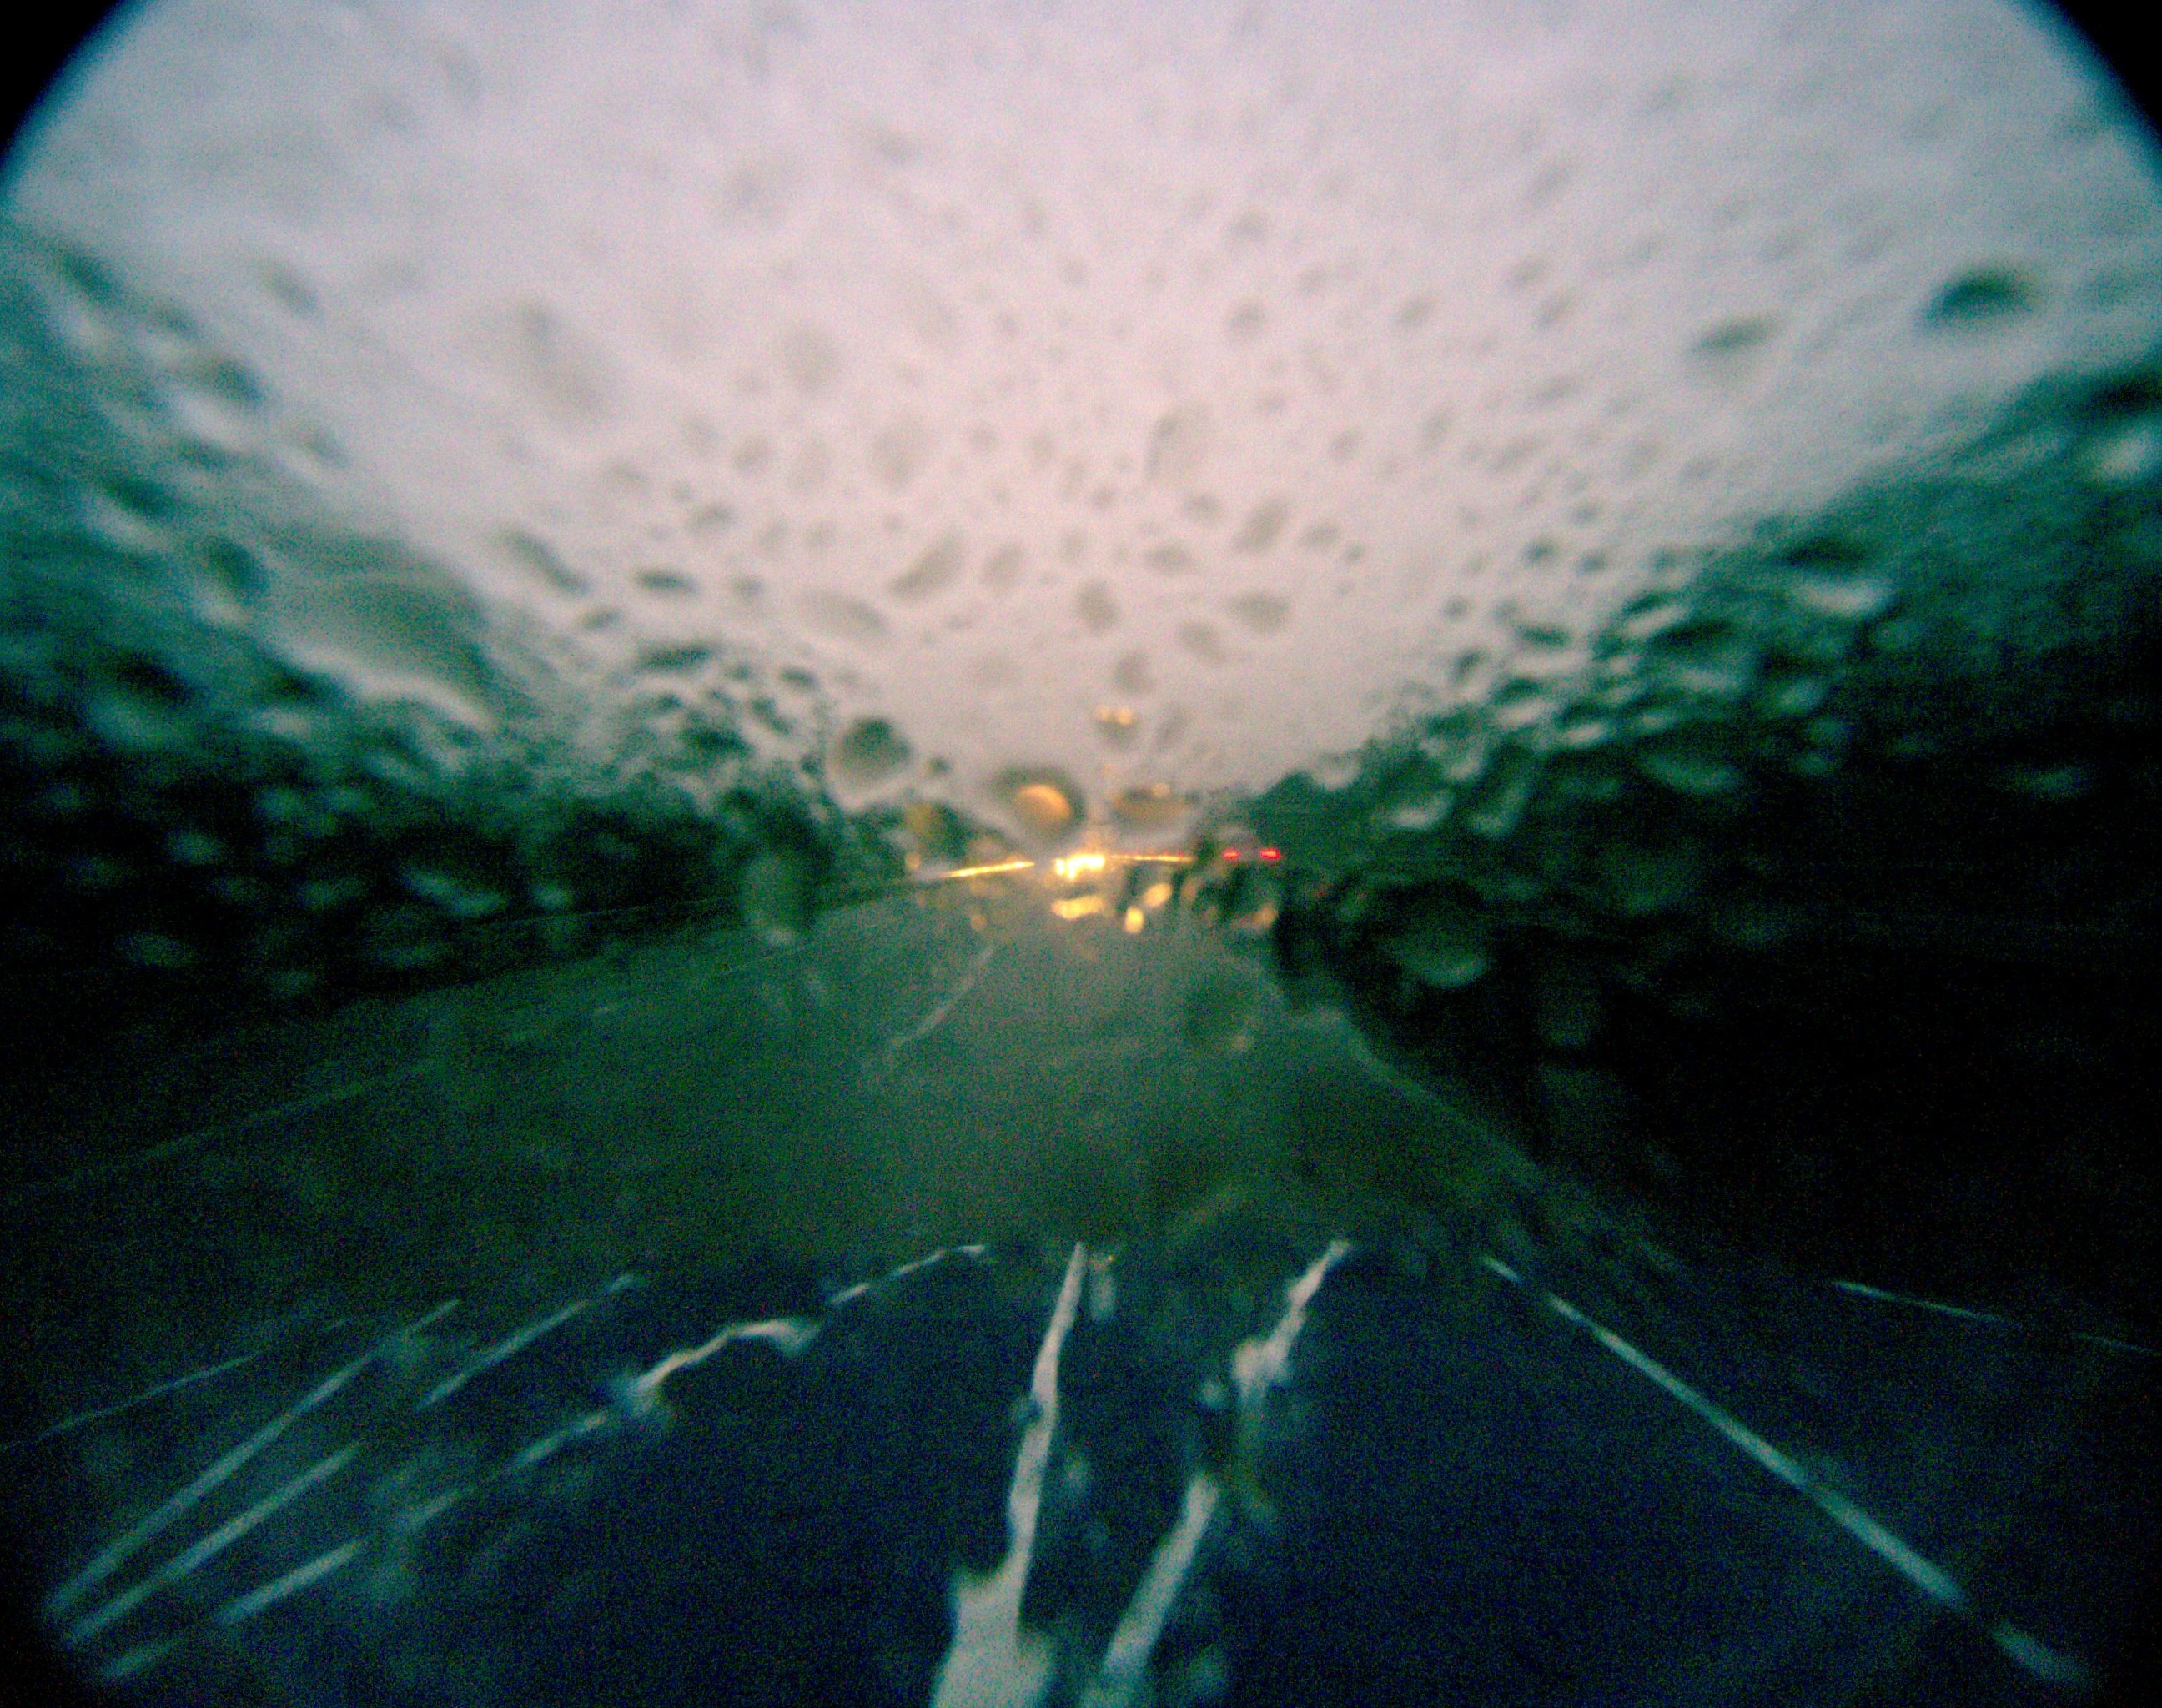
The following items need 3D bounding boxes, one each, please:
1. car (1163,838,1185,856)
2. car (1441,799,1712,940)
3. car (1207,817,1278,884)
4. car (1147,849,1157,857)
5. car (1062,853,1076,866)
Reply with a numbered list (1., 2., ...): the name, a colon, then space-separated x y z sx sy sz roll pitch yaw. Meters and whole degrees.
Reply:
1. car: 13.905 -1.071 114.193 2.482 2.508 6.268 -2 1 1
2. car: 8.597 0.221 13.788 1.998 2.002 4.393 -4 0 1
3. car: 8.103 -0.175 38.803 2.309 3.072 5.607 -2 1 0
4. car: 15.582 -0.211 166.712 1.784 1.598 4.000 -2 1 2
5. car: -1.610 0.678 102.458 1.748 1.643 4.000 -2 1 2
